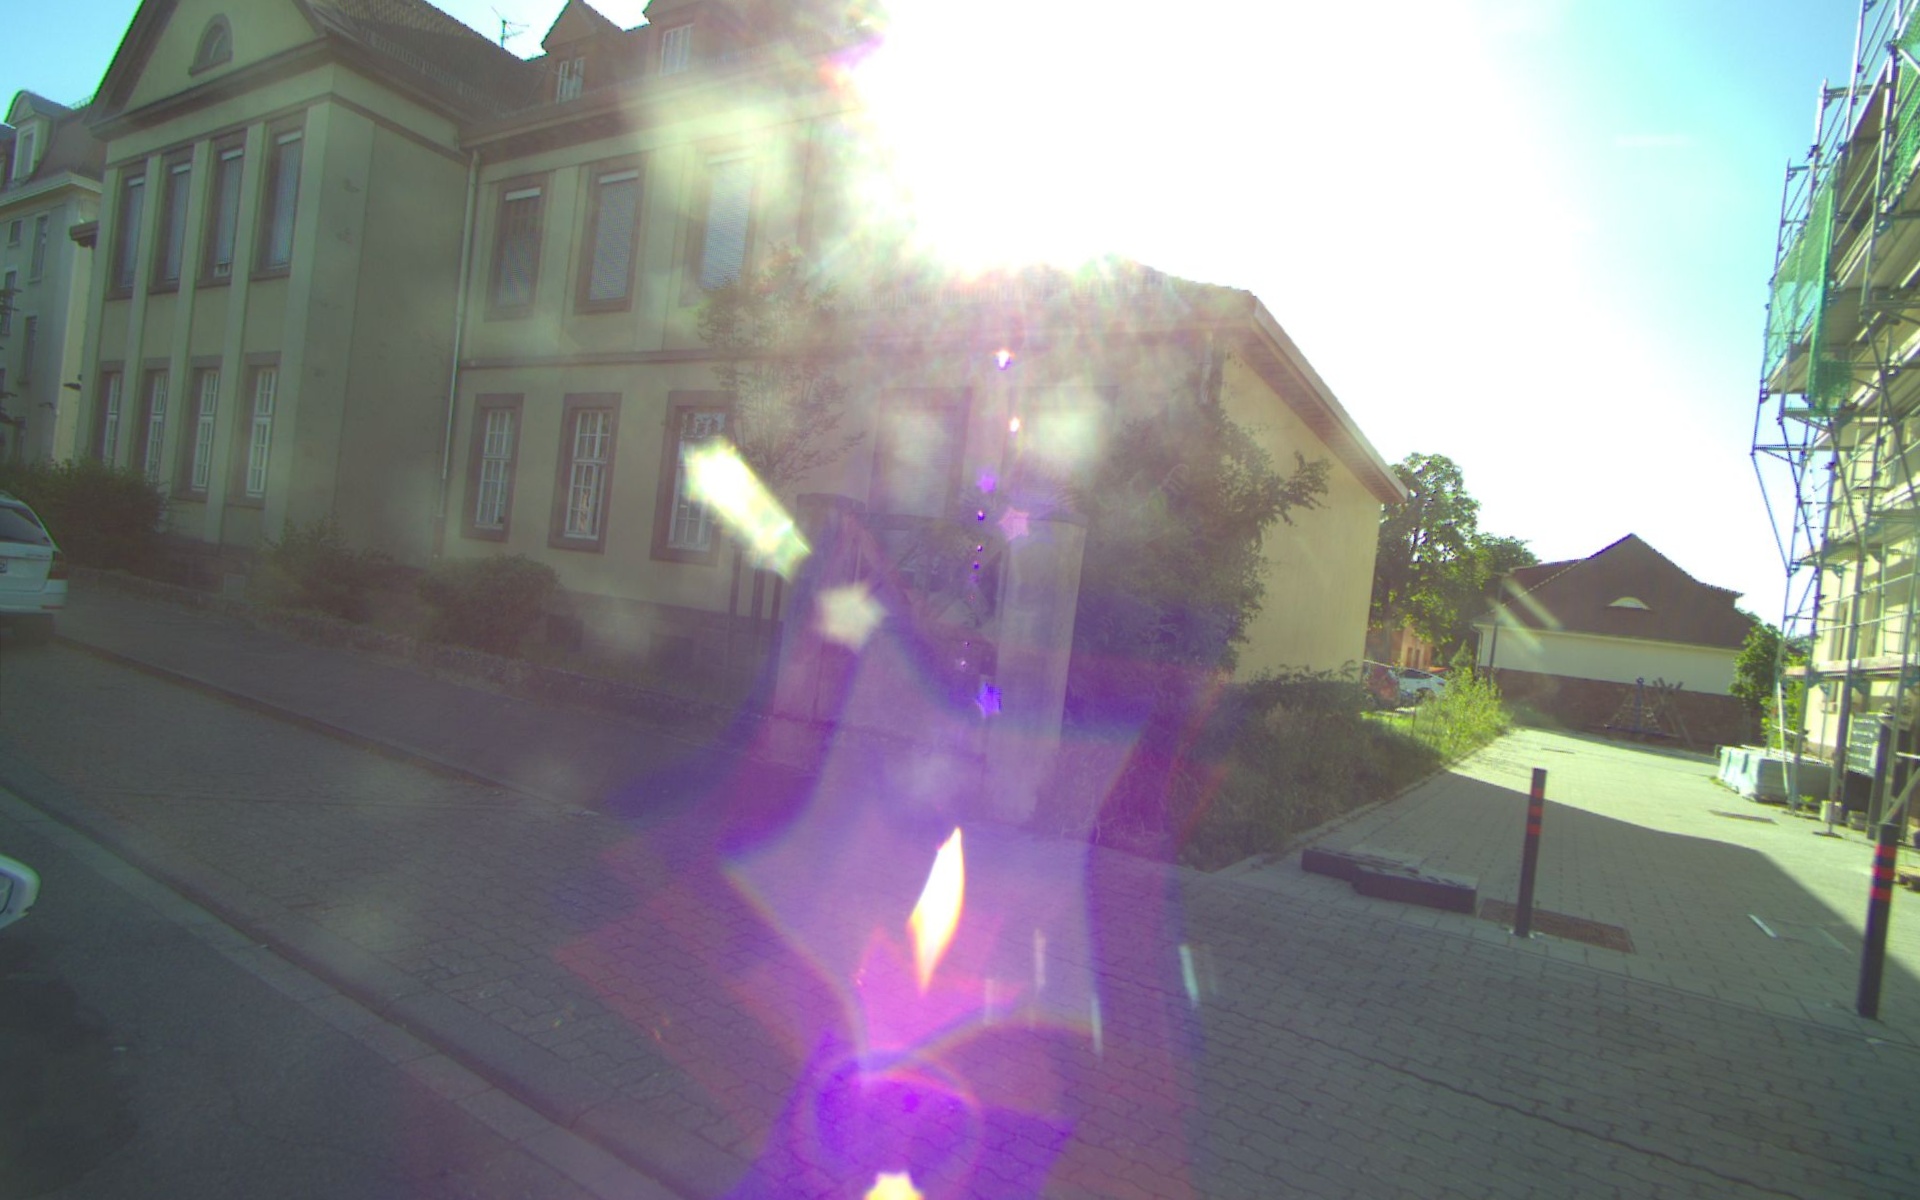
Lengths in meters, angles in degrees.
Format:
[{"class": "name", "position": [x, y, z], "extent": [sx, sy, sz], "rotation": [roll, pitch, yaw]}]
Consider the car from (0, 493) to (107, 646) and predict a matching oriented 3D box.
[{"class": "car", "position": [-10.560, -0.506, 9.984], "extent": [4.421, 1.339, 1.834], "rotation": [7, 0, 31]}]

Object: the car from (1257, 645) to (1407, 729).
[{"class": "car", "position": [11.706, 2.722, 31.668], "extent": [3.934, 2.037, 1.998], "rotation": [7, -2, 32]}]

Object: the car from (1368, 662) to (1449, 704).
[{"class": "car", "position": [20.887, 3.879, 46.884], "extent": [3.186, 1.441, 1.506], "rotation": [7, -2, 32]}]
